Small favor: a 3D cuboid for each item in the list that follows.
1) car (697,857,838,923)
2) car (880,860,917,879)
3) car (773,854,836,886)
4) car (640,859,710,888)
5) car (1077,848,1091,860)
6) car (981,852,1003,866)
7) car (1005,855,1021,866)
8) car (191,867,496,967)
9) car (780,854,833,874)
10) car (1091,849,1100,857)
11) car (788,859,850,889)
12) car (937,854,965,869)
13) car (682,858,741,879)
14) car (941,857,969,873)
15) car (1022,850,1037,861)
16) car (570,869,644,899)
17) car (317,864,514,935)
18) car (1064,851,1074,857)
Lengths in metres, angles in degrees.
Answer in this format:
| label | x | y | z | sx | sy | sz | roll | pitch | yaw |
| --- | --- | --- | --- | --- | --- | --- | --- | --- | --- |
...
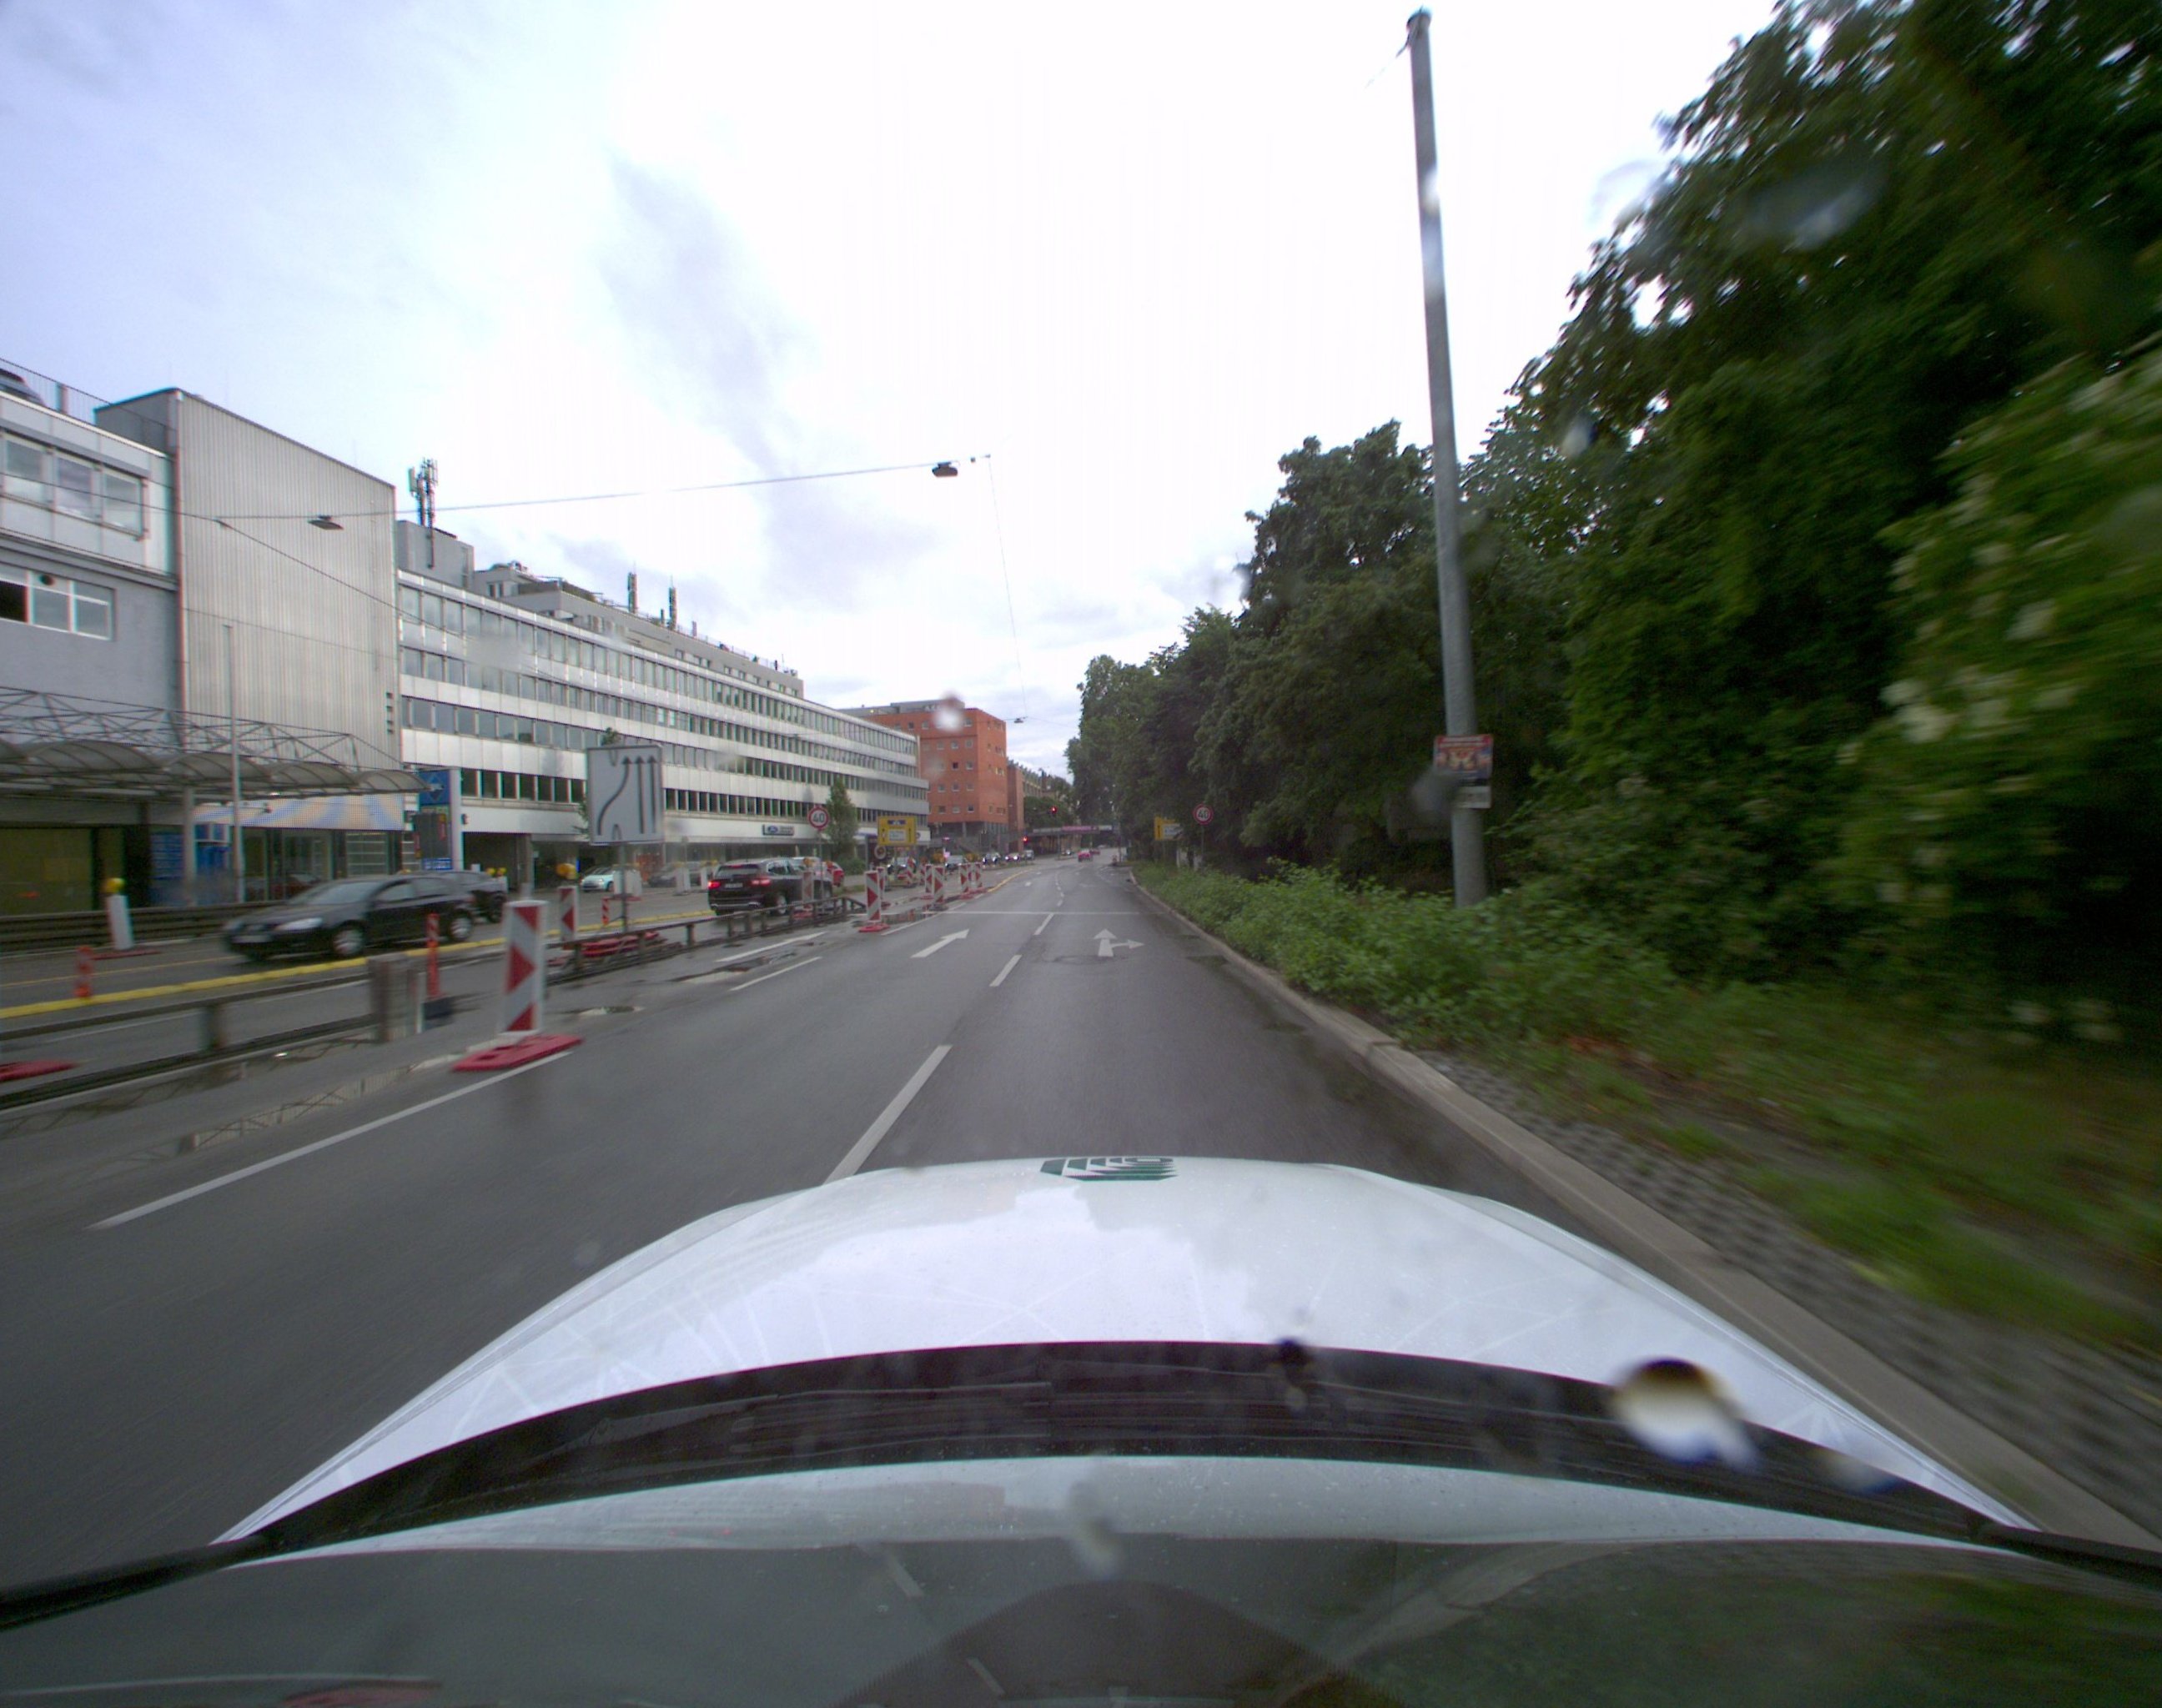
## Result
| label | x | y | z | sx | sy | sz | roll | pitch | yaw |
| --- | --- | --- | --- | --- | --- | --- | --- | --- | --- |
| car | -9.070 | 0.964 | 24.049 | 1.937 | 1.597 | 4.679 | 1 | 1 | 6 |
| car | -15.805 | 1.335 | 70.668 | 1.742 | 1.513 | 4.008 | -3 | -1 | 7 |
| car | -16.340 | 0.921 | 48.450 | 1.972 | 1.707 | 4.832 | -2 | 0 | 1 |
| car | -28.894 | 1.352 | 58.133 | 1.836 | 1.779 | 4.746 | -3 | 0 | 13 |
| car | 0.519 | 0.058 | 125.392 | 2.113 | 1.734 | 4.200 | 0 | 1 | 1 |
| car | -12.114 | 0.670 | 111.381 | 1.835 | 1.737 | 4.615 | -2 | 0 | 8 |
| car | -10.549 | 1.007 | 126.507 | 1.821 | 1.502 | 4.379 | -3 | 0 | 5 |
| car | -14.128 | 1.111 | 16.038 | 1.952 | 1.521 | 4.302 | -2 | 0 | 2 |
| car | -29.567 | 1.103 | 87.769 | 5.014 | 1.897 | 1.977 | -3 | 0 | -40 |
| car | 3.179 | -0.280 | 183.216 | 1.755 | 1.697 | 3.709 | -3 | 0 | 4 |
| car | -13.466 | 1.018 | 42.110 | 1.729 | 1.404 | 4.290 | -1 | 0 | 1 |
| car | -14.373 | 0.855 | 90.378 | 1.797 | 1.558 | 4.312 | -2 | 0 | 9 |
| car | -32.169 | 1.262 | 70.866 | 4.402 | 1.651 | 1.835 | -3 | 0 | -33 |
| car | -11.856 | 1.063 | 76.951 | 1.681 | 1.354 | 4.119 | -3 | 0 | 4 |
| car | -8.784 | 0.219 | 139.029 | 1.726 | 1.786 | 4.307 | -3 | 0 | 5 |
| car | -27.284 | 1.702 | 47.011 | 1.643 | 1.535 | 3.764 | -3 | 0 | 7 |
| car | -17.285 | 1.116 | 21.447 | 1.704 | 1.536 | 4.079 | -3 | 0 | 1 |
| car | -2.847 | -0.023 | 189.302 | 1.984 | 1.519 | 4.005 | -1 | 0 | 4 |
